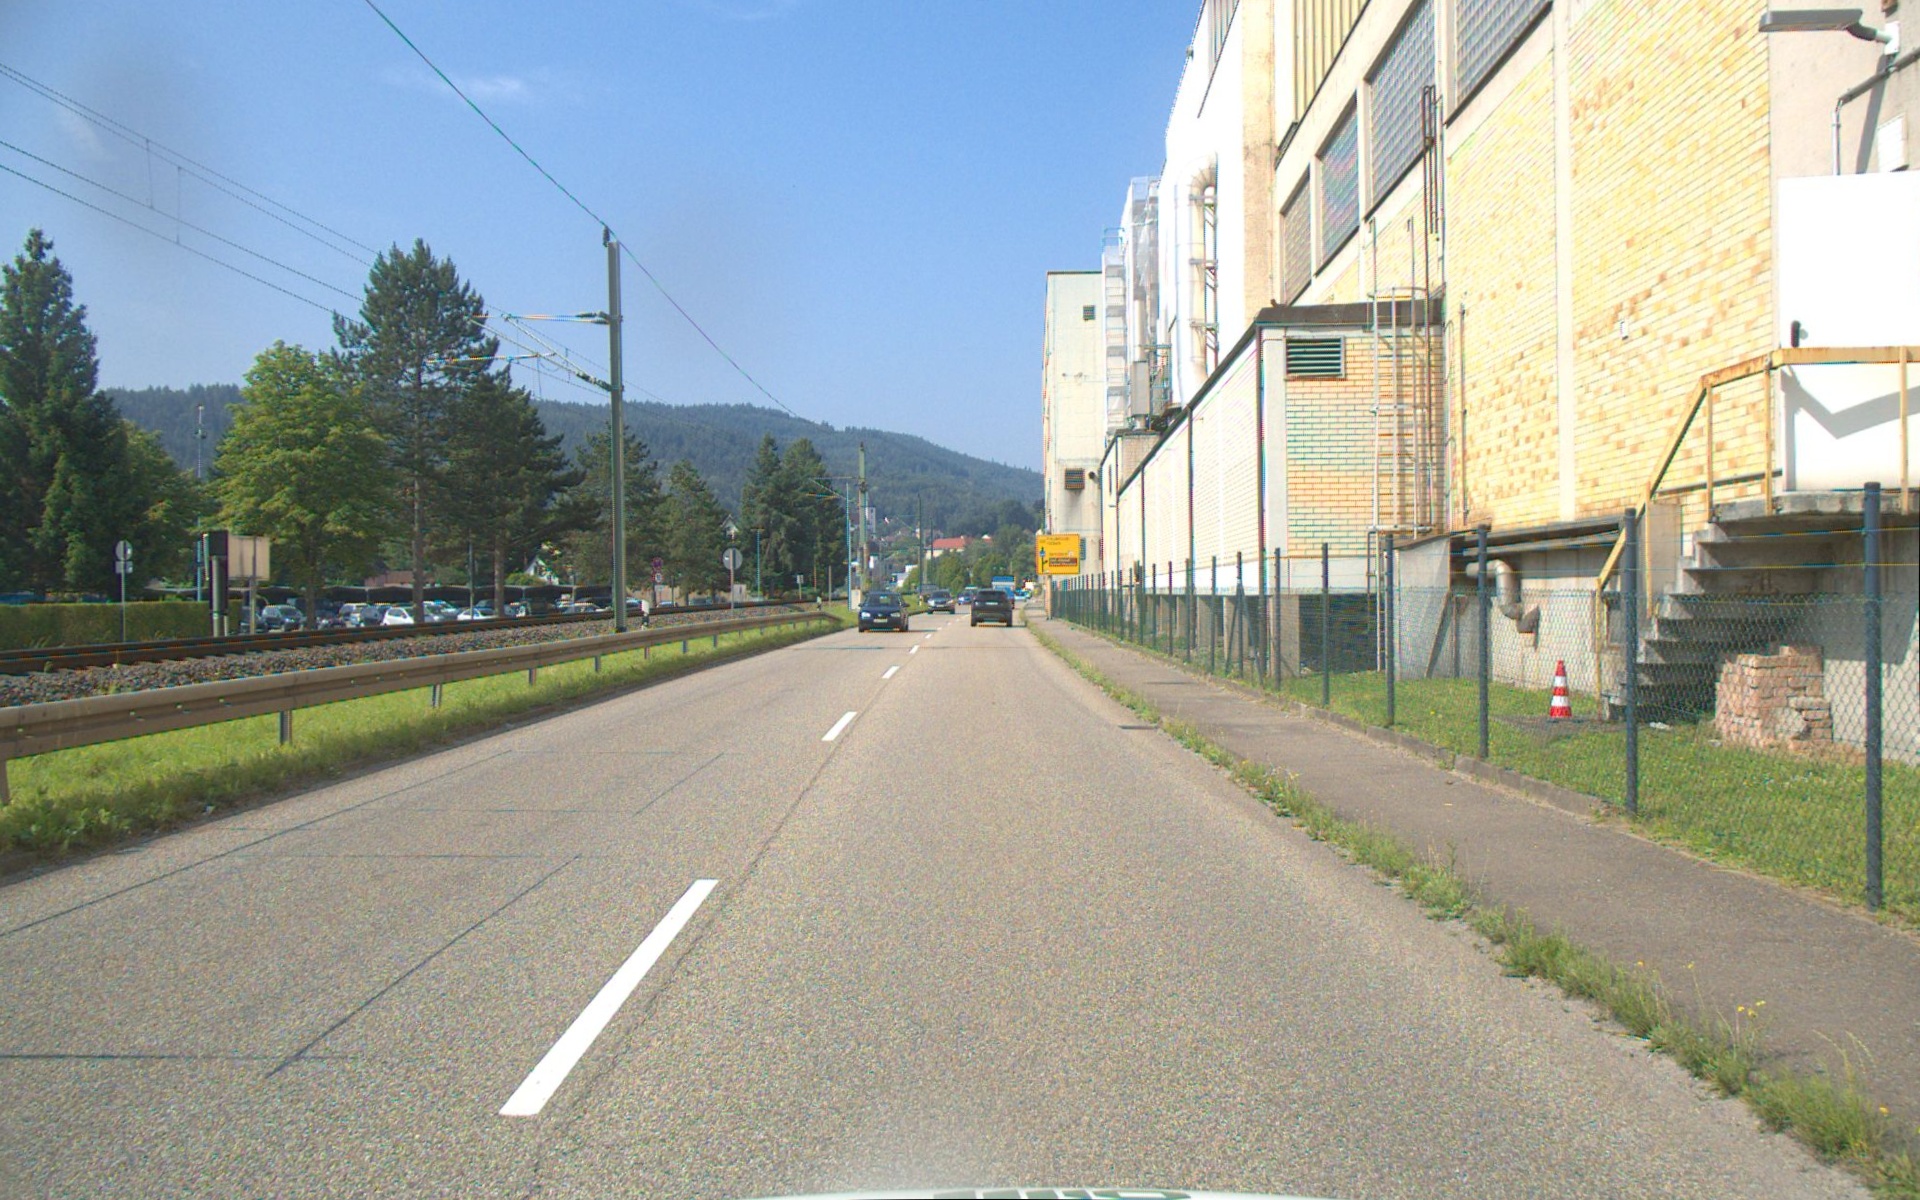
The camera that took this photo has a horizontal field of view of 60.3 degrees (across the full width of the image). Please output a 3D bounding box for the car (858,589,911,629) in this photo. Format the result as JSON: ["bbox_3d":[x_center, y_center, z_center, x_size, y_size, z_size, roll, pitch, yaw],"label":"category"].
[{"bbox_3d":[-2.768,0.304,61.321,1.728,1.427,4.120,-1,1,0],"label":"car"}]

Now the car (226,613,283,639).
[{"bbox_3d":[-40.702,1.478,95.392,3.786,1.431,1.677,-1,0,43],"label":"car"}]

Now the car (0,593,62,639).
[{"bbox_3d":[-29.257,0.495,51.221,1.363,1.375,2.893,-1,0,-3],"label":"car"}]

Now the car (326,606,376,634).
[{"bbox_3d":[-38.268,1.280,103.947,1.674,1.671,3.794,-2,0,-42],"label":"car"}]

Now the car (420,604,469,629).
[{"bbox_3d":[-34.166,1.095,109.524,1.674,1.533,3.794,-2,0,-42],"label":"car"}]

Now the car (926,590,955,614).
[{"bbox_3d":[-1.346,0.117,116.125,1.867,1.628,4.571,0,0,1],"label":"car"}]

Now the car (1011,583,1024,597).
[{"bbox_3d":[7.726,-1.319,222.725,1.632,1.854,3.753,-1,1,3],"label":"car"}]

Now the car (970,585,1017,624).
[{"bbox_3d":[1.524,0.160,73.681,1.879,1.668,4.002,-1,0,4],"label":"car"}]

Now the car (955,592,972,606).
[{"bbox_3d":[0.367,-0.078,179.512,1.731,1.430,4.298,-1,0,2],"label":"car"}]

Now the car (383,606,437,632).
[{"bbox_3d":[-32.527,1.143,97.853,1.674,1.469,3.794,-2,0,-42],"label":"car"}]

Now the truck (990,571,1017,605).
[{"bbox_3d":[3.982,-1.107,152.991,2.265,3.022,5.966,-1,1,0],"label":"truck"}]
